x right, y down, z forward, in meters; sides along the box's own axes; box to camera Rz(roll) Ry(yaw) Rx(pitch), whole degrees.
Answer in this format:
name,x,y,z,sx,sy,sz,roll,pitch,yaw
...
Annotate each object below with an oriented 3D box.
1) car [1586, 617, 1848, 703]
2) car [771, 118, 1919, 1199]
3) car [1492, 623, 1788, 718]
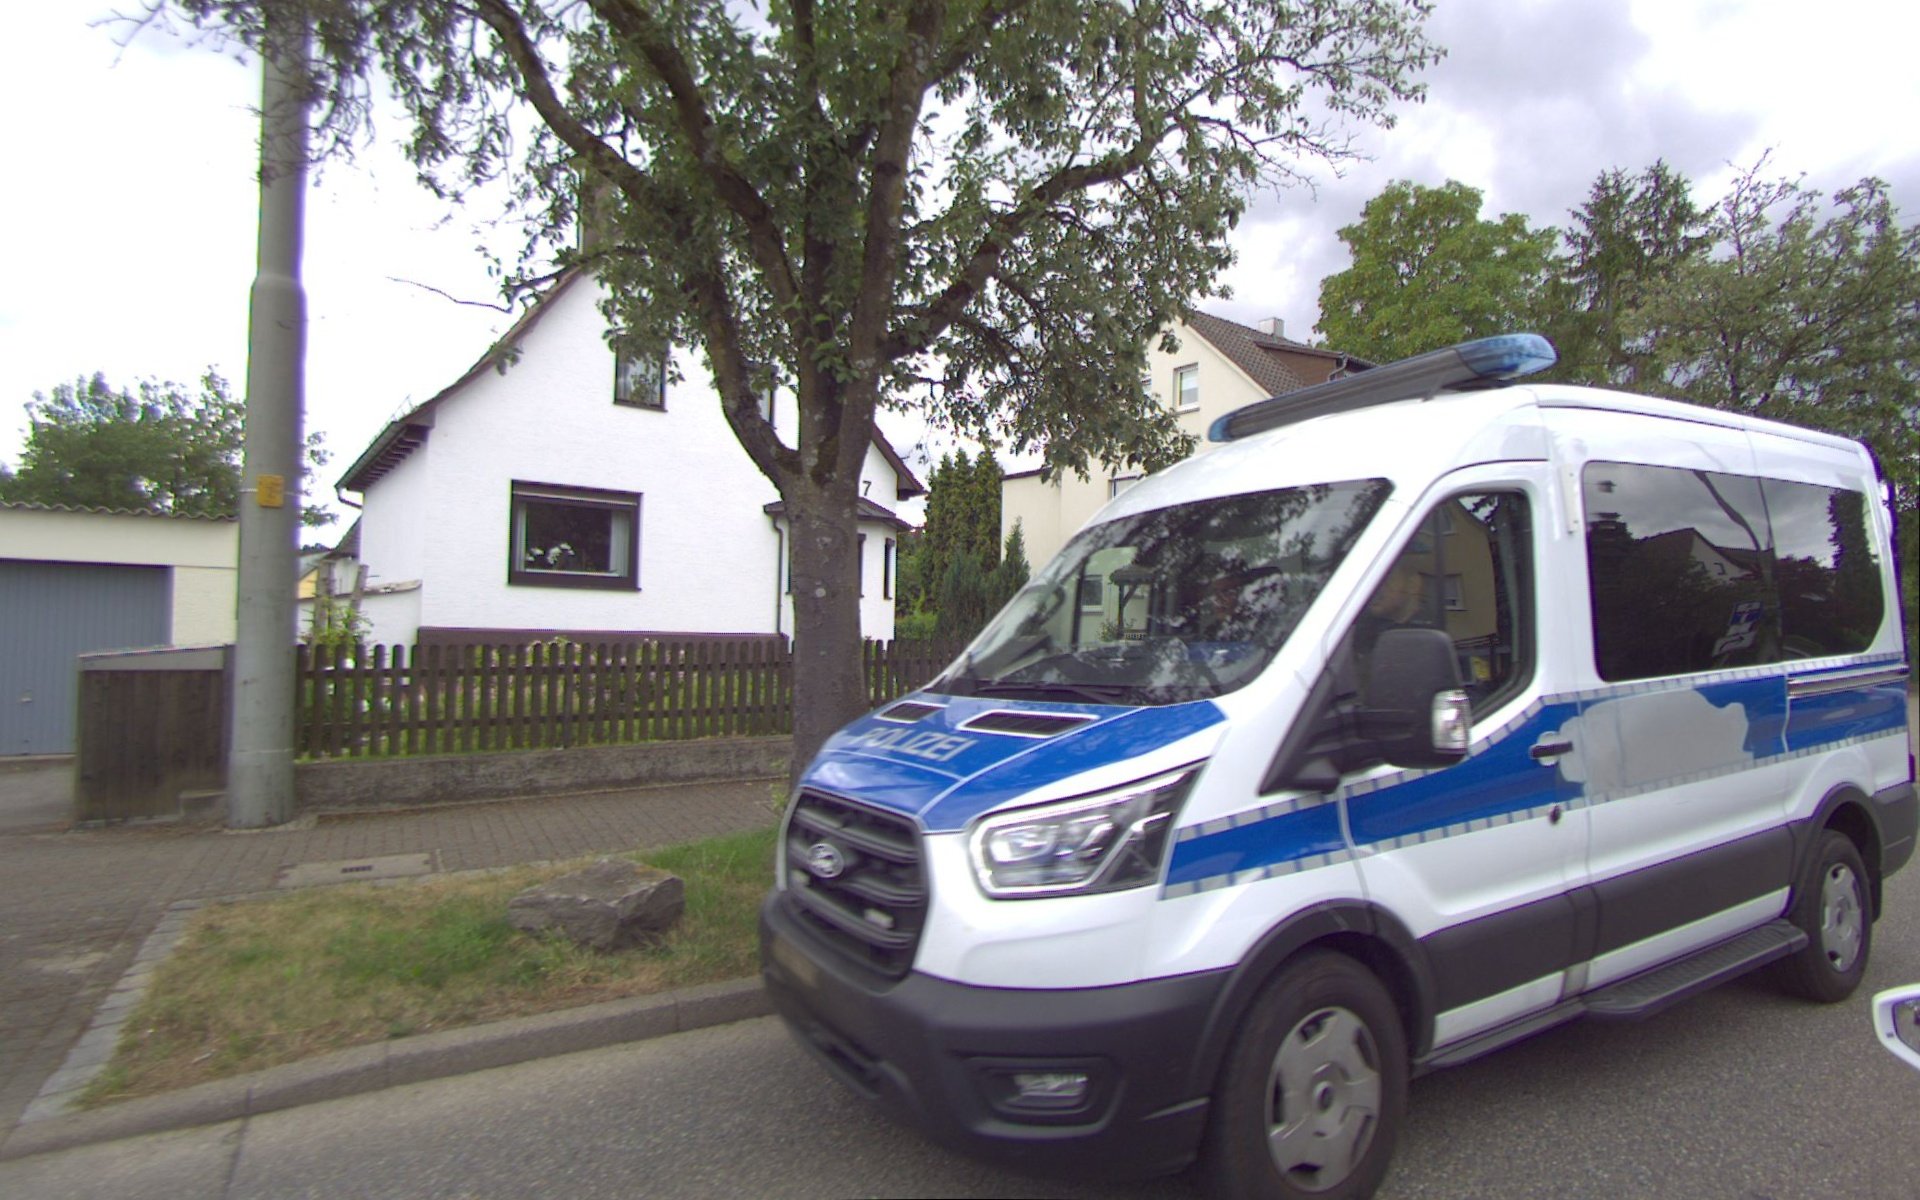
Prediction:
name,x,y,z,sx,sy,sz,roll,pitch,yaw
car,16.923,1.274,22.709,1.949,1.639,4.314,2,0,-29
car,2.027,0.380,4.361,5.240,2.616,2.063,1,-3,-32
car,12.661,1.232,18.961,1.799,1.386,4.248,2,1,-36
